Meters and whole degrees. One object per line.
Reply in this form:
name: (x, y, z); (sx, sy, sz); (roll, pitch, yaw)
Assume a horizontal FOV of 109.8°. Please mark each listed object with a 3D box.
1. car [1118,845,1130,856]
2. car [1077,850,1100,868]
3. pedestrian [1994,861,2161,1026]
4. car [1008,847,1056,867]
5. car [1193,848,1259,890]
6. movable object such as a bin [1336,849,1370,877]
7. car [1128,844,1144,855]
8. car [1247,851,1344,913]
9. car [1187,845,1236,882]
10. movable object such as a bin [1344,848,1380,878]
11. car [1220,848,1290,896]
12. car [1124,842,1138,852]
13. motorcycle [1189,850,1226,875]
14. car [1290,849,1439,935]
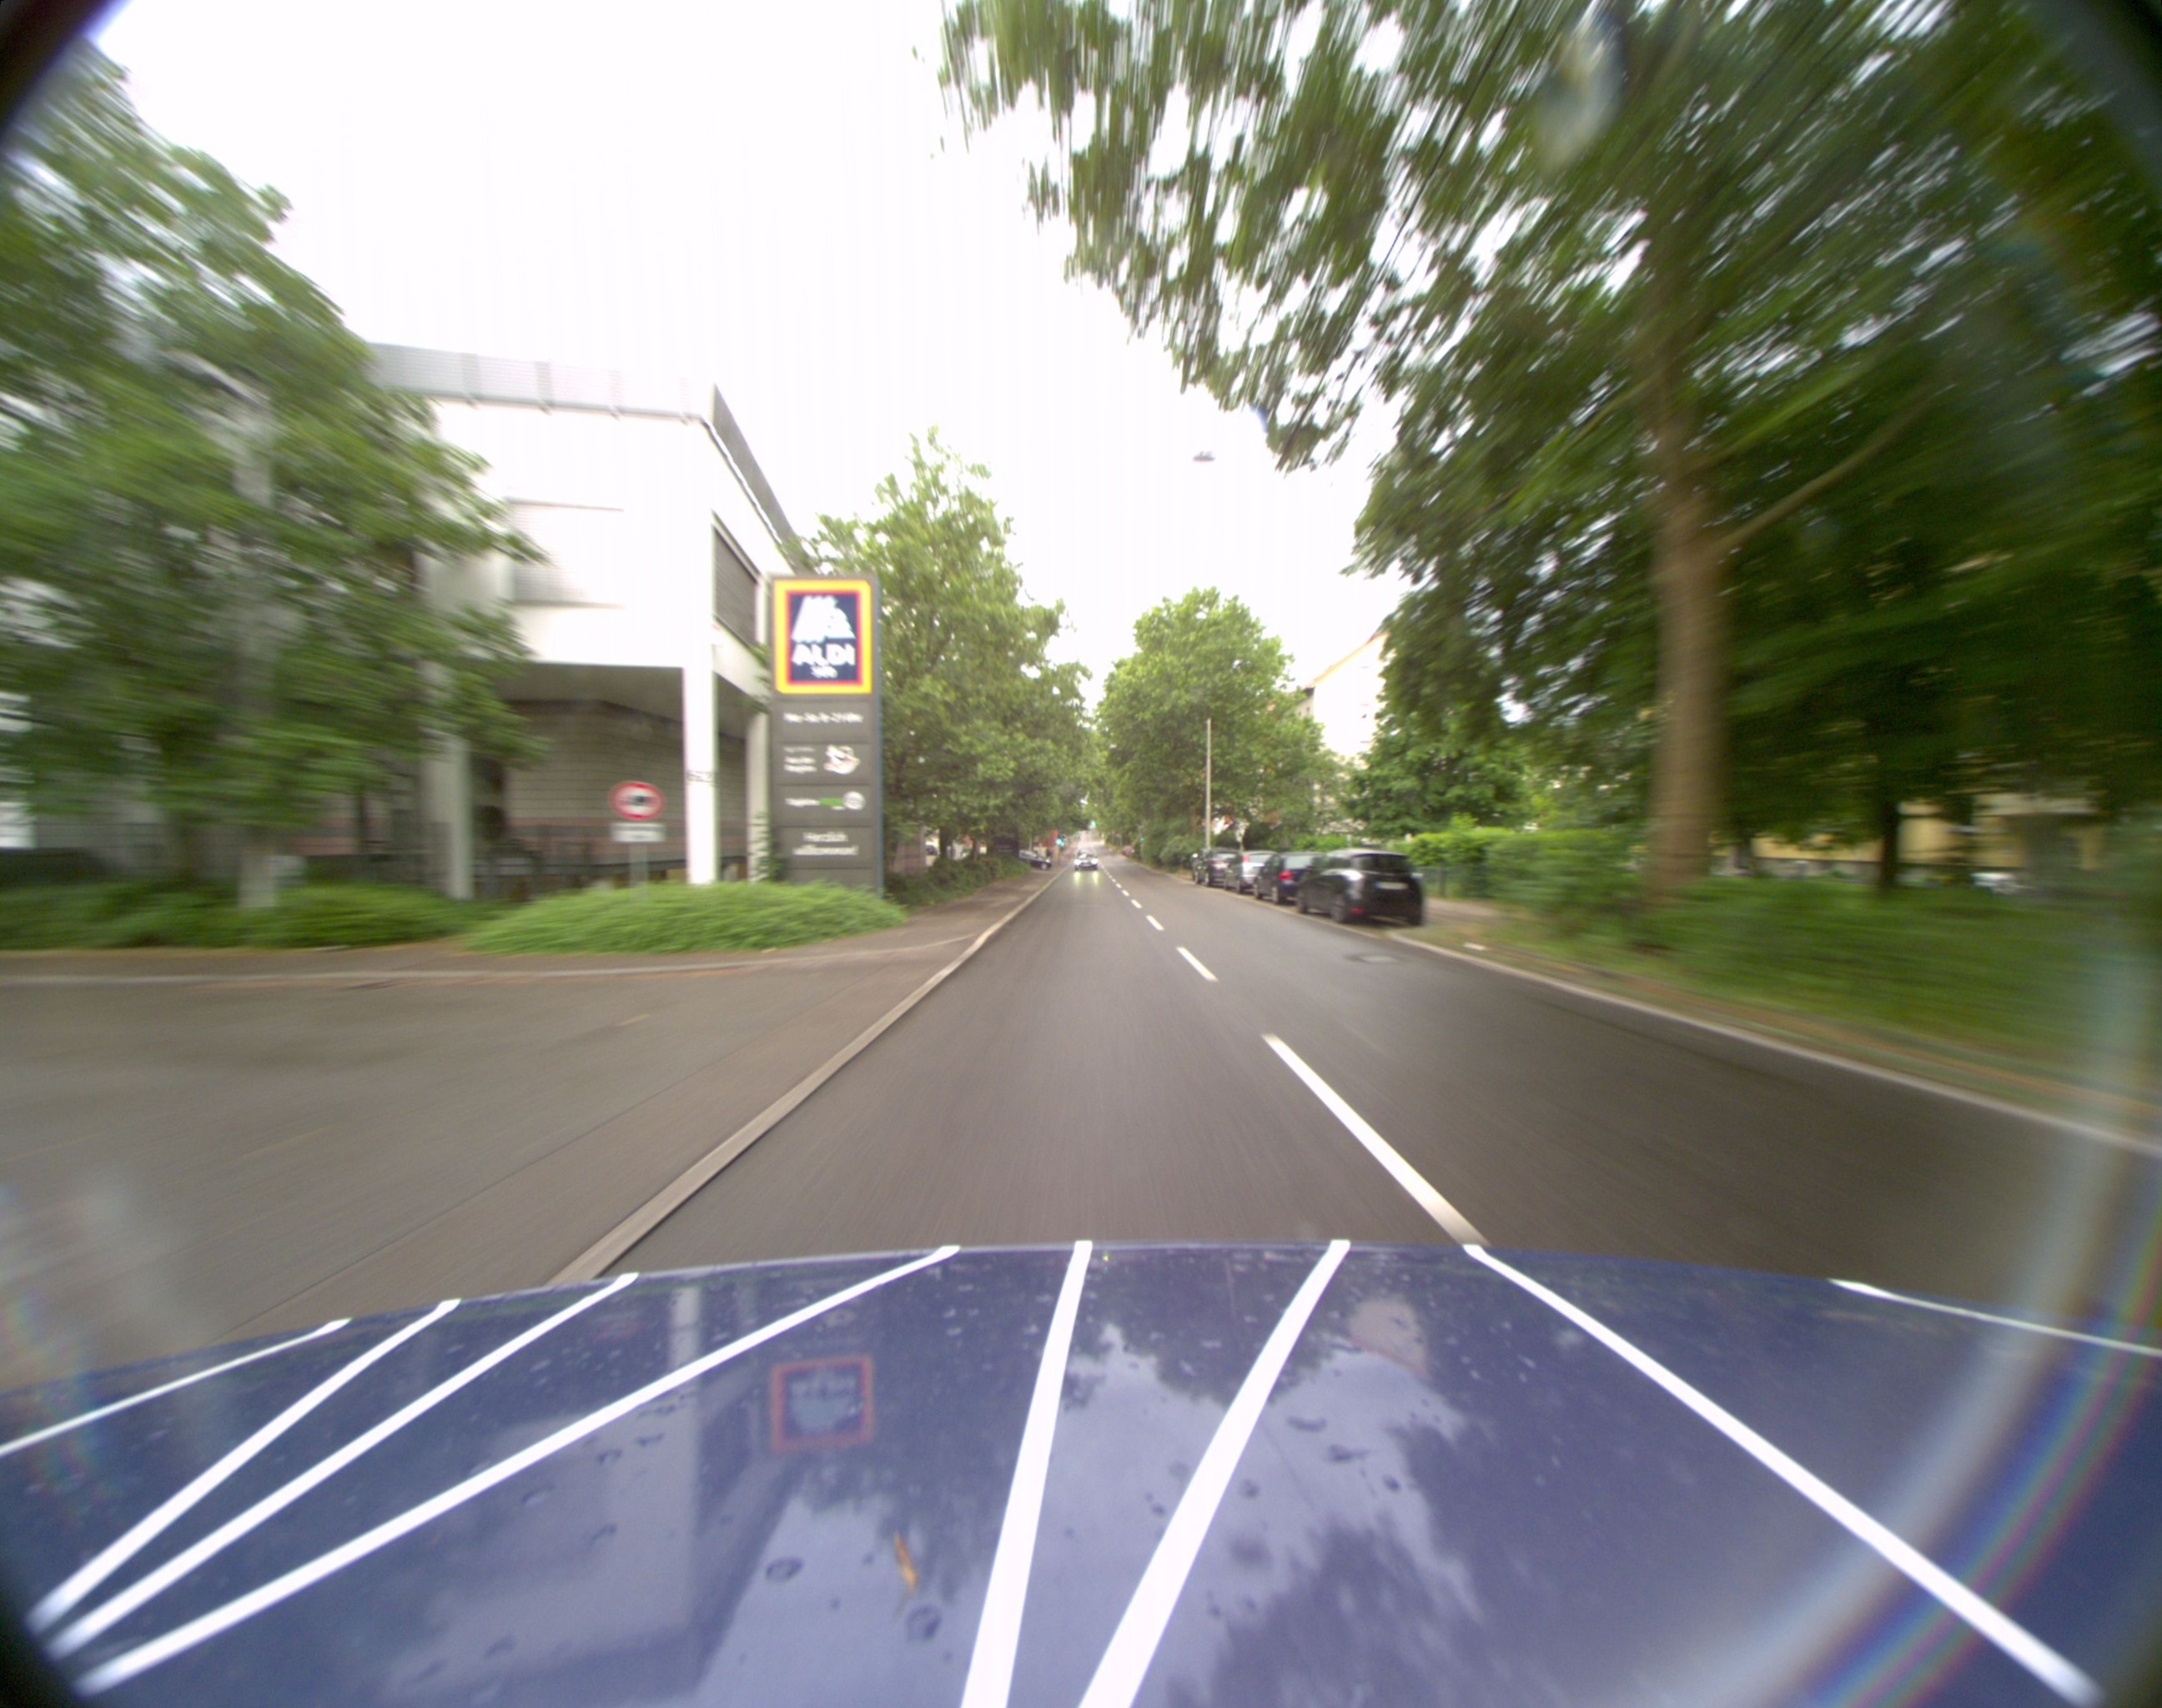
car: (6.674, -0.555, 117.682); (1.559, 1.459, 3.395); (-1, 2, -1)
car: (0.563, 0.370, 61.849); (1.692, 1.334, 3.998); (0, 2, -2)
pedestrian: (10.803, 0.918, 8.228); (0.588, 1.611, 1.021); (-2, 3, 2)
car: (-3.986, 0.259, 61.516); (3.860, 1.538, 2.025); (0, 1, -5)
car: (5.994, 0.562, 31.920); (1.869, 1.582, 4.238); (2, 1, -1)
movable object such as a bin: (13.703, 0.455, 38.280); (1.238, 1.372, 1.480); (-1, 1, 3)
car: (7.383, -0.624, 101.978); (1.721, 1.459, 4.232); (-1, 2, -1)
car: (6.050, 0.730, 21.888); (1.676, 1.499, 3.873); (3, 1, 1)
car: (6.540, 0.449, 38.391); (1.738, 1.648, 4.564); (3, 0, 2)
movable object such as a bin: (13.566, 0.418, 36.752); (1.238, 1.372, 1.480); (-1, 1, 3)
car: (6.145, 0.585, 27.226); (1.676, 1.499, 4.123); (-2, 1, 2)
car: (7.784, -1.156, 119.197); (1.721, 1.501, 4.802); (-2, 2, -1)
motorcycle: (6.972, 0.478, 41.981); (1.844, 1.308, 0.783); (2, 1, 0)
car: (5.920, 0.710, 16.407); (1.652, 1.529, 4.017); (3, 1, 0)
